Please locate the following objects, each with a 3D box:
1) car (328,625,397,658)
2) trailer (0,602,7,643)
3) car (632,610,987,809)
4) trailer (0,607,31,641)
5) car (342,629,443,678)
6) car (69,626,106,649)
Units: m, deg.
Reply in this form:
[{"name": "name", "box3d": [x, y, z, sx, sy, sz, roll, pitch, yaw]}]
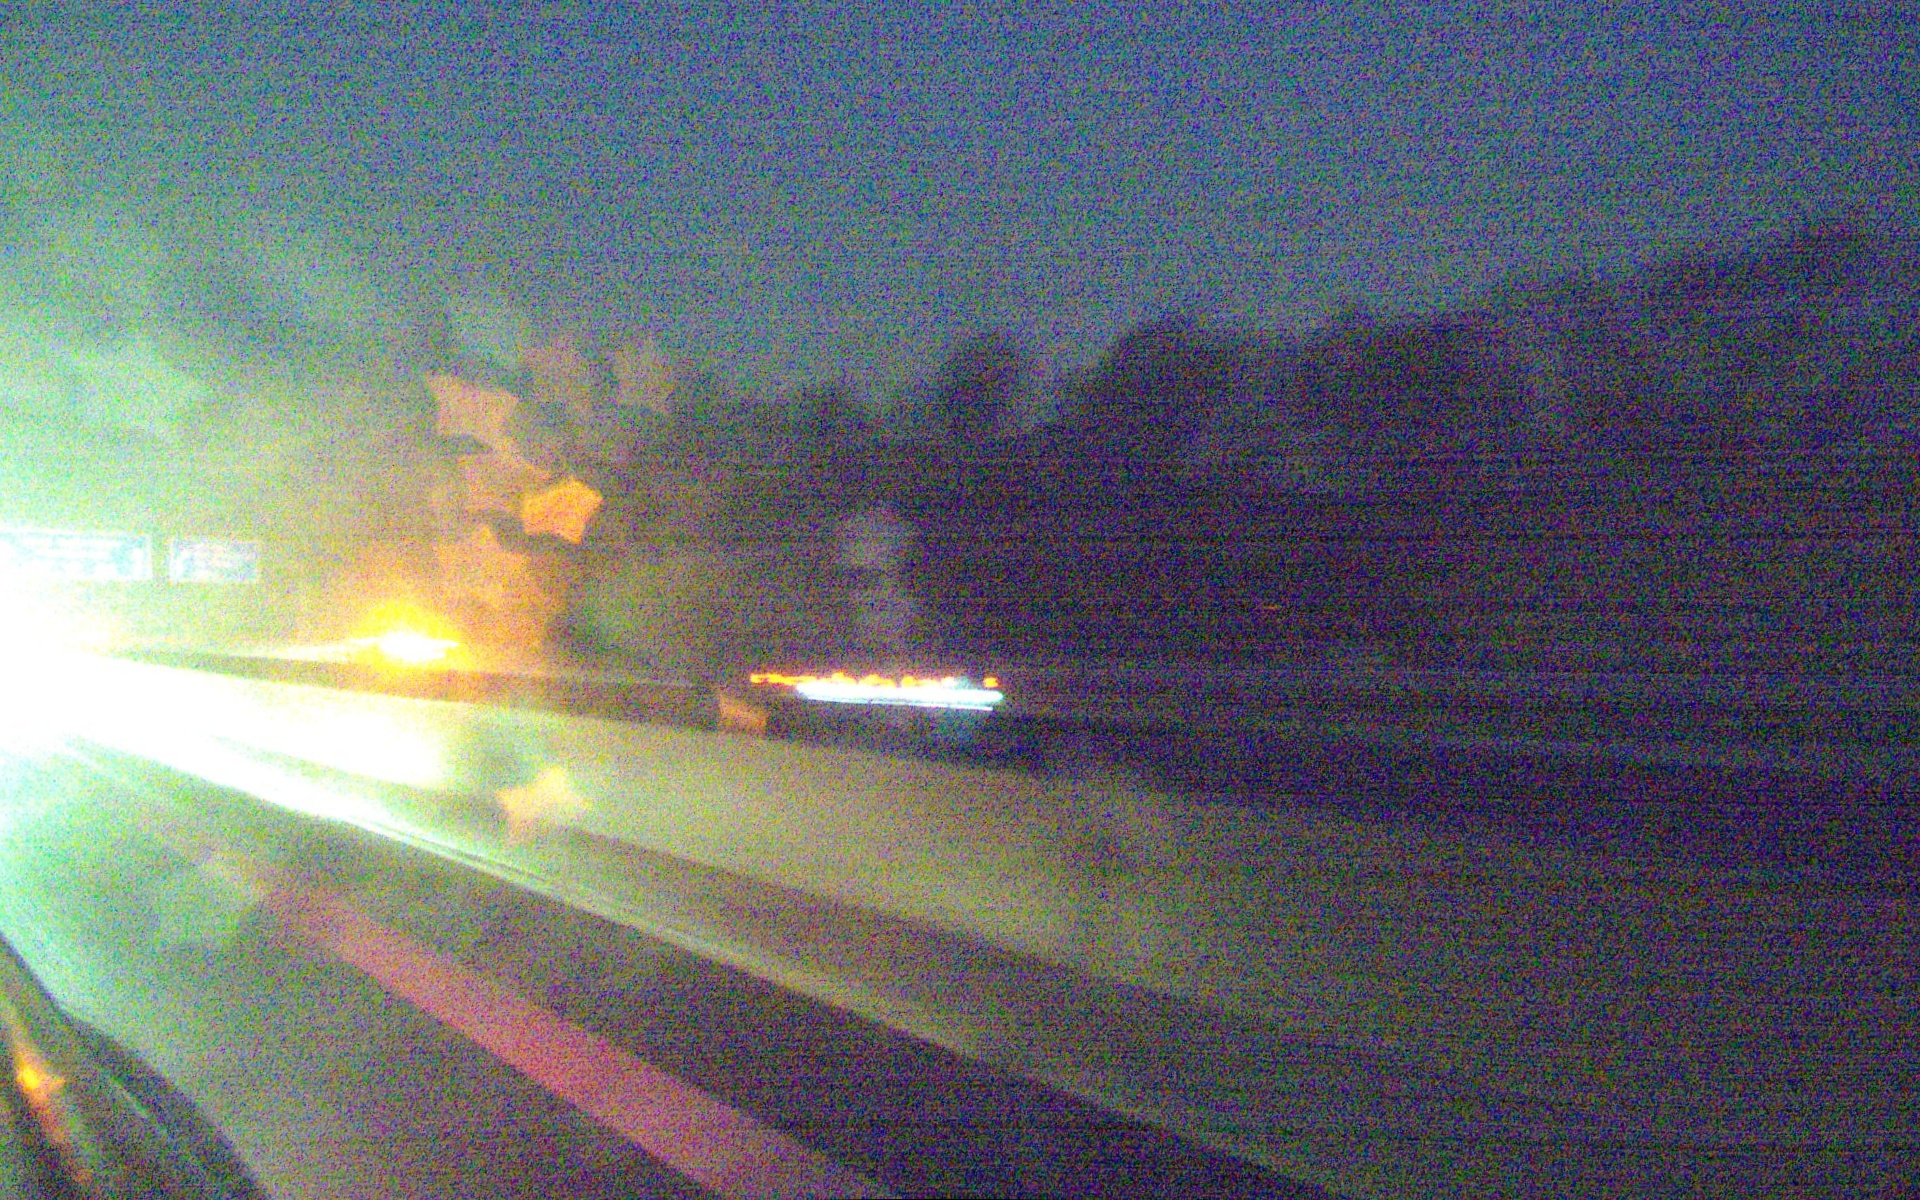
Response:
[{"name": "car", "box3d": [-32.204, 2.226, 54.516, 4.244, 1.727, 1.972, -2, -3, 41]}, {"name": "trailer", "box3d": [-109.951, 2.639, 113.488, 14.617, 4.411, 2.664, -2, -1, 40]}, {"name": "car", "box3d": [-1.994, 1.174, 12.576, 4.449, 2.029, 1.972, -2, -2, 41]}, {"name": "trailer", "box3d": [-127.372, 3.266, 135.540, 15.636, 4.253, 2.662, -2, -1, 42]}, {"name": "car", "box3d": [-21.840, 2.005, 38.902, 4.589, 1.773, 1.972, -2, -3, 41]}, {"name": "car", "box3d": [-79.744, 3.383, 92.460, 4.389, 2.029, 1.972, -1, -2, 42]}]
